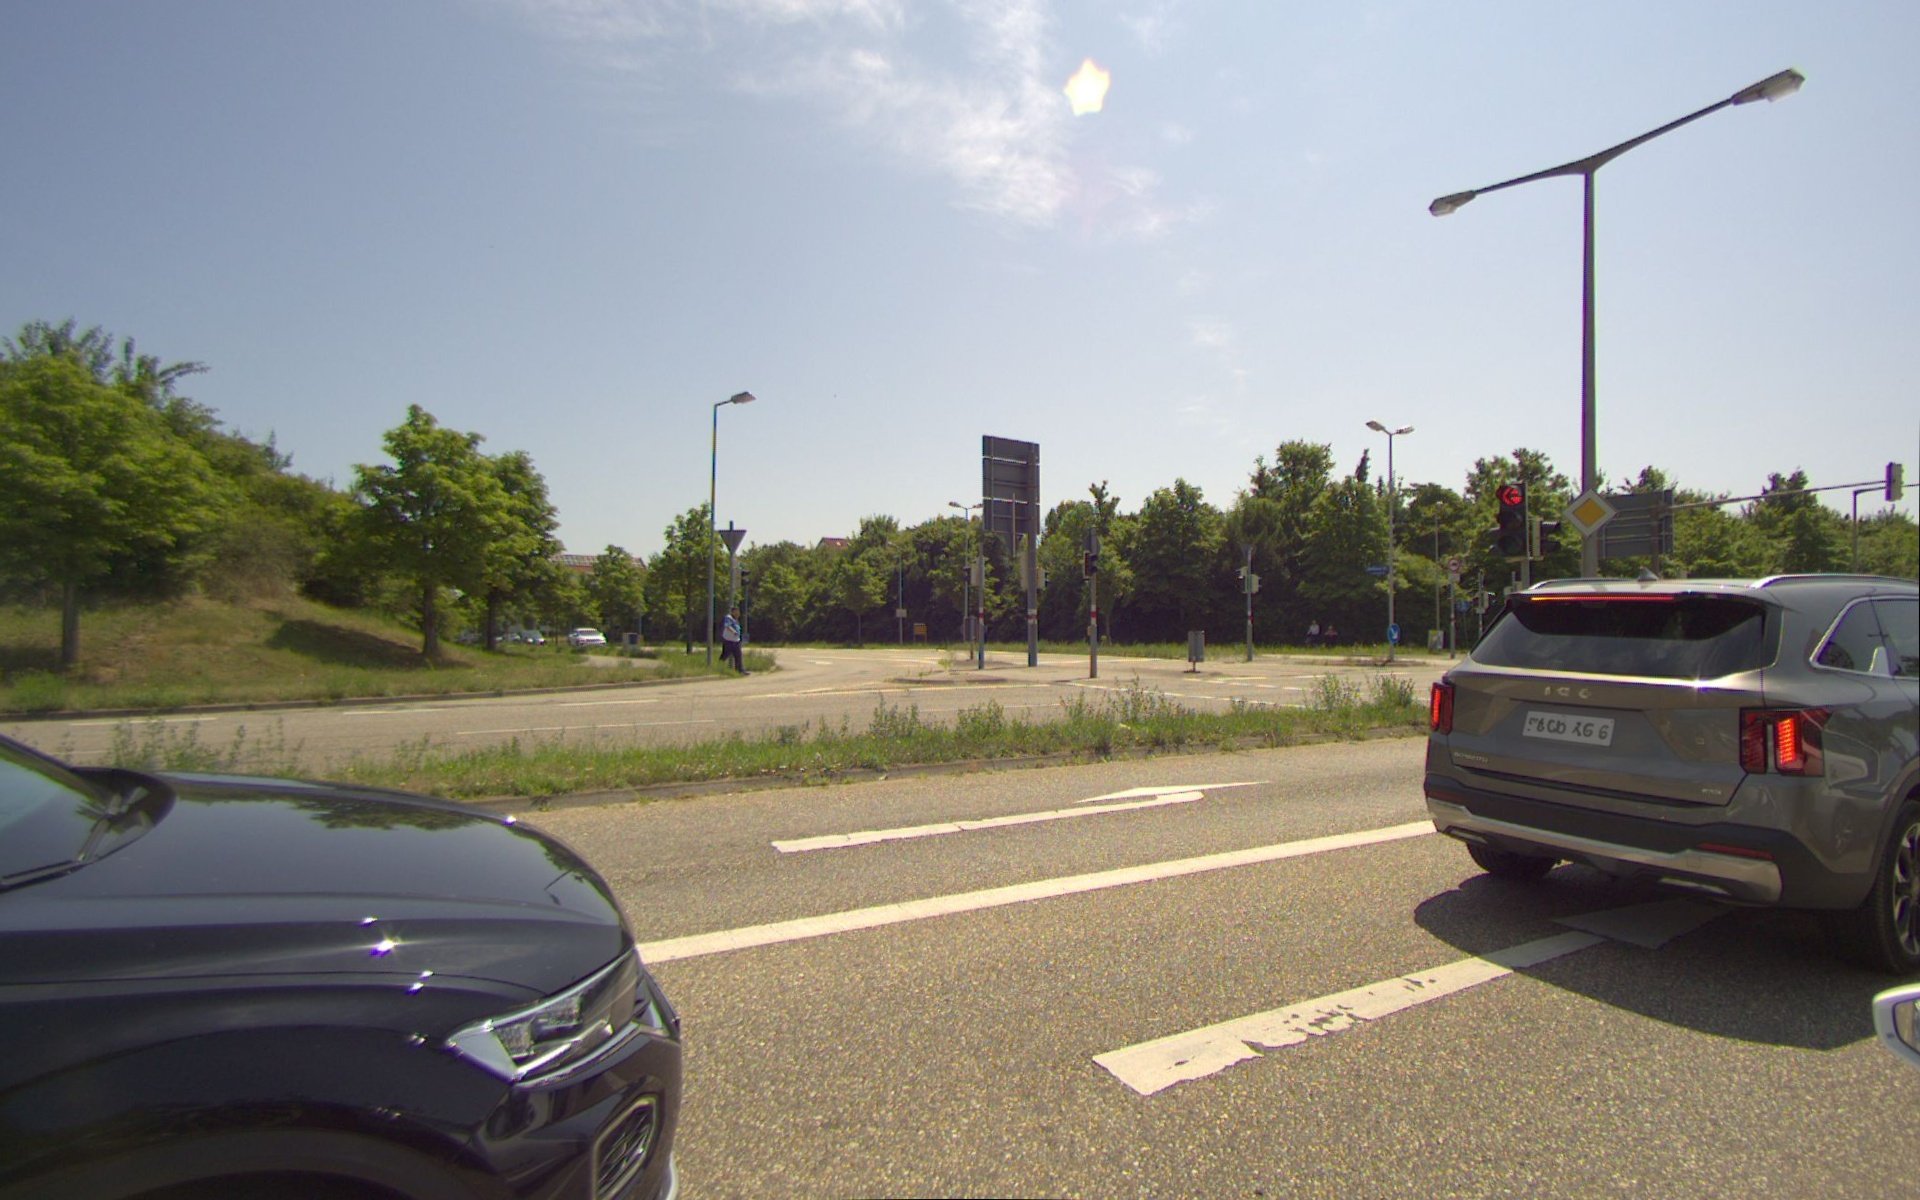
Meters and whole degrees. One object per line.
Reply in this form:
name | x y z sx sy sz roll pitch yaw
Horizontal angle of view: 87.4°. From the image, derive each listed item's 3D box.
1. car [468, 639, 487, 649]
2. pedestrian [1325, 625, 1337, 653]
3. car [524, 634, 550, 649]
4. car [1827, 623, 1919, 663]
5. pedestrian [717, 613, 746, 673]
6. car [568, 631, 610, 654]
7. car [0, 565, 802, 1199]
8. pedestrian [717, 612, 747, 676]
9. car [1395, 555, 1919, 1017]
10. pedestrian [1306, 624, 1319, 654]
car | -71.072 6.441 148.045 1.689 1.353 3.955 1 -2 -39
pedestrian | 20.590 2.173 55.753 0.606 1.523 0.798 0 -1 24
car | -41.393 4.040 98.265 1.685 1.353 3.964 1 -2 -33
car | 36.442 1.678 39.895 4.119 1.475 1.814 1 -1 -30
pedestrian | -6.551 1.225 28.809 0.761 1.722 0.723 0 -1 -11
car | -26.410 3.011 71.426 1.860 1.522 4.269 -2 -1 -34
car | -2.397 0.691 1.442 3.924 1.532 1.726 2 0 -30
pedestrian | -6.338 1.219 28.003 0.779 1.759 0.582 0 -1 -11
car | 4.683 0.738 5.618 4.590 1.684 1.795 1 -1 -30
pedestrian | 19.741 2.186 56.247 0.606 1.624 0.798 -1 -1 24
